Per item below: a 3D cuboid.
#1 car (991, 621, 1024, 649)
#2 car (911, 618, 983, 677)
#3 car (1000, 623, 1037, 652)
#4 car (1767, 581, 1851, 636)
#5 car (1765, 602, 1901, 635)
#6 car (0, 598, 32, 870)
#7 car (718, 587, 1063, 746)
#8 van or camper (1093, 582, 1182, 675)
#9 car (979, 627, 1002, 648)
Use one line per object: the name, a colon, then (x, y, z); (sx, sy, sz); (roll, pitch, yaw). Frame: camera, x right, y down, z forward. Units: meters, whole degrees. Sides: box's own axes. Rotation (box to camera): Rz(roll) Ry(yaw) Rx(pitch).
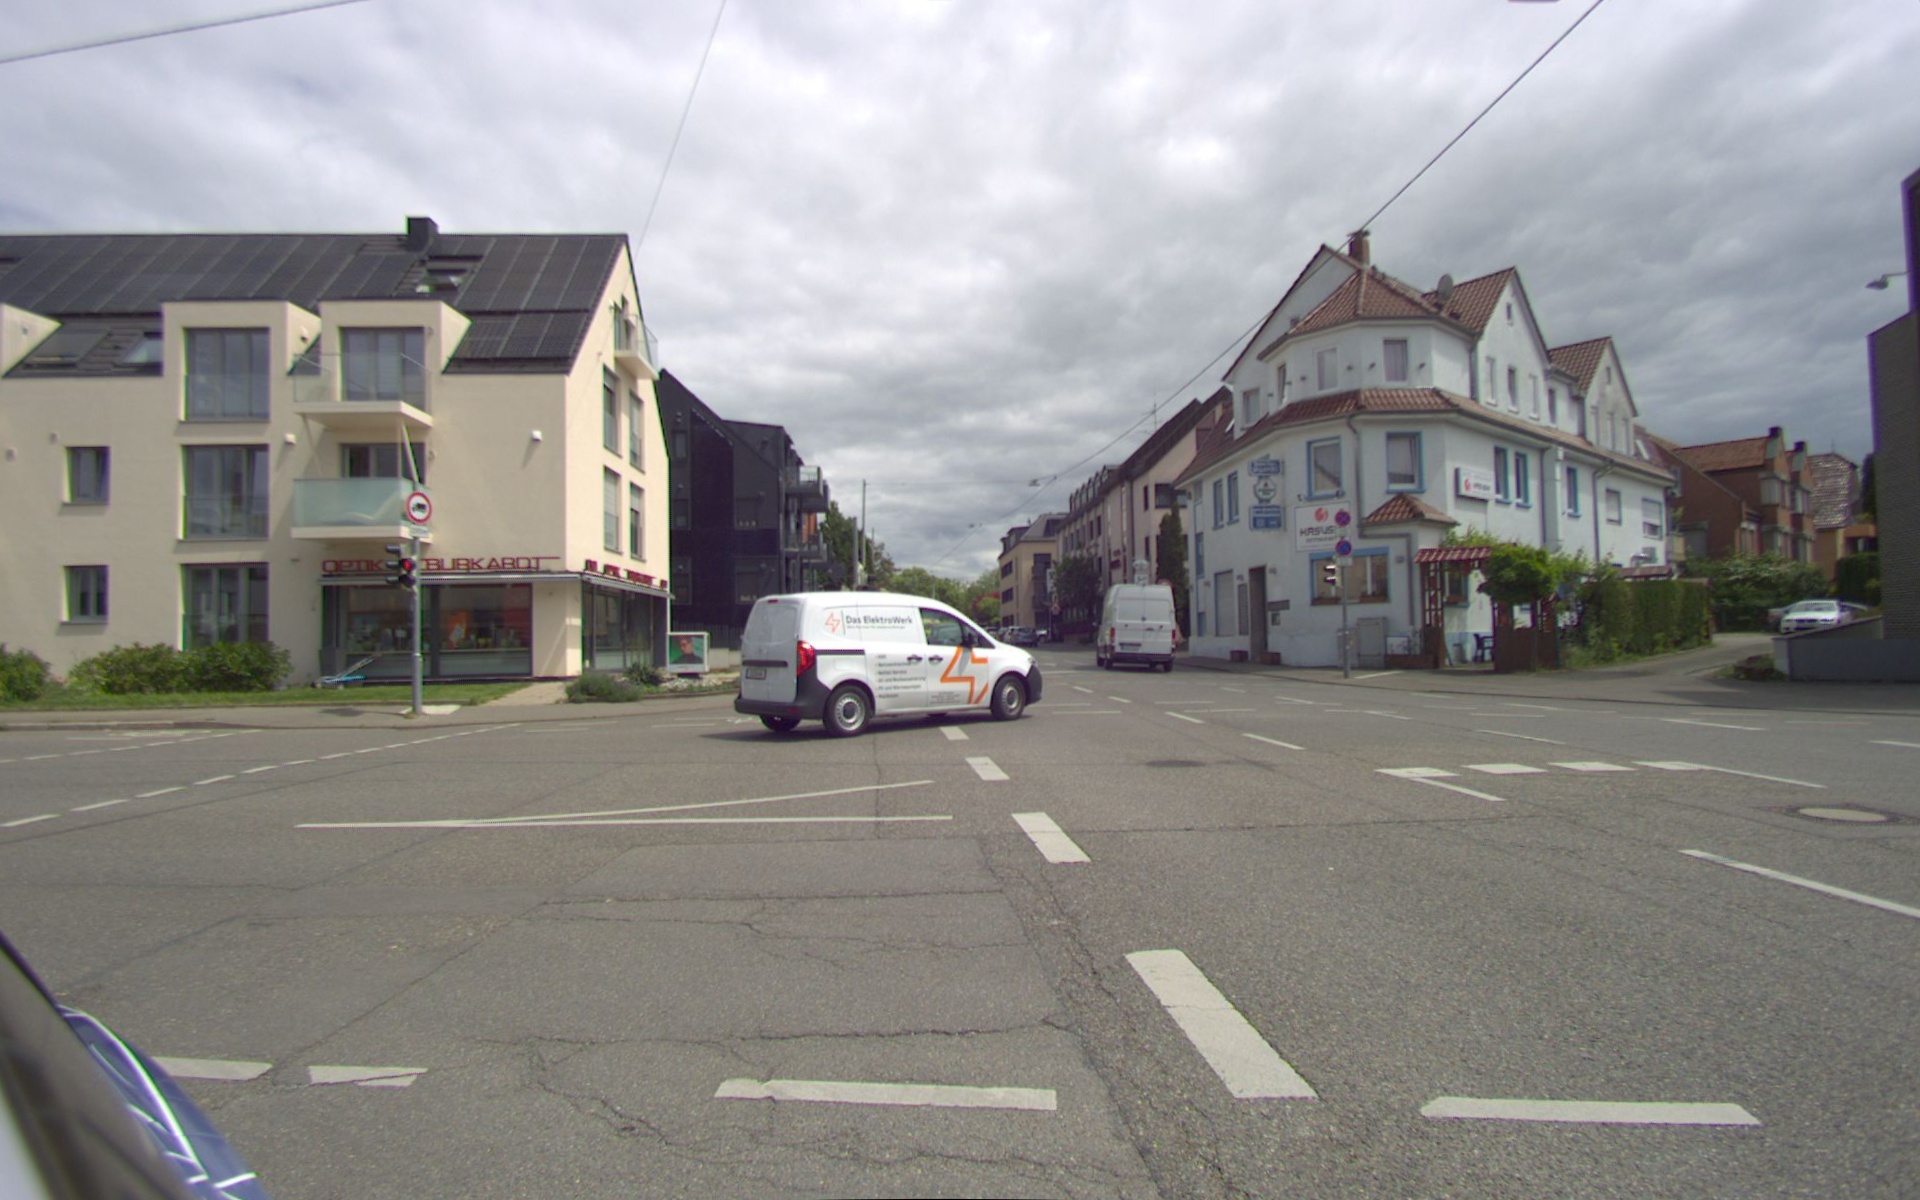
car: (3.672, 2.714, 78.859); (1.969, 2.029, 4.005); (-1, -2, -6)
car: (-0.473, 1.430, 31.486); (1.970, 1.697, 4.004); (-1, -1, -4)
car: (4.232, 2.725, 73.683); (1.969, 2.029, 4.005); (-1, -2, -6)
car: (33.218, 0.348, 39.547); (3.939, 2.029, 2.002); (1, -2, -43)
car: (36.261, 0.795, 42.138); (1.508, 1.320, 4.009); (0, -2, -36)
car: (-7.596, 0.793, 5.300); (3.948, 1.587, 1.774); (-1, -2, 3)
car: (-0.849, 0.788, 13.718); (4.347, 1.825, 1.825); (-1, -2, -38)
van or camper: (5.443, 0.947, 31.735); (2.087, 2.606, 5.637); (1, -3, 4)
car: (2.958, 3.615, 98.069); (1.971, 2.029, 4.001); (-1, -2, -1)
